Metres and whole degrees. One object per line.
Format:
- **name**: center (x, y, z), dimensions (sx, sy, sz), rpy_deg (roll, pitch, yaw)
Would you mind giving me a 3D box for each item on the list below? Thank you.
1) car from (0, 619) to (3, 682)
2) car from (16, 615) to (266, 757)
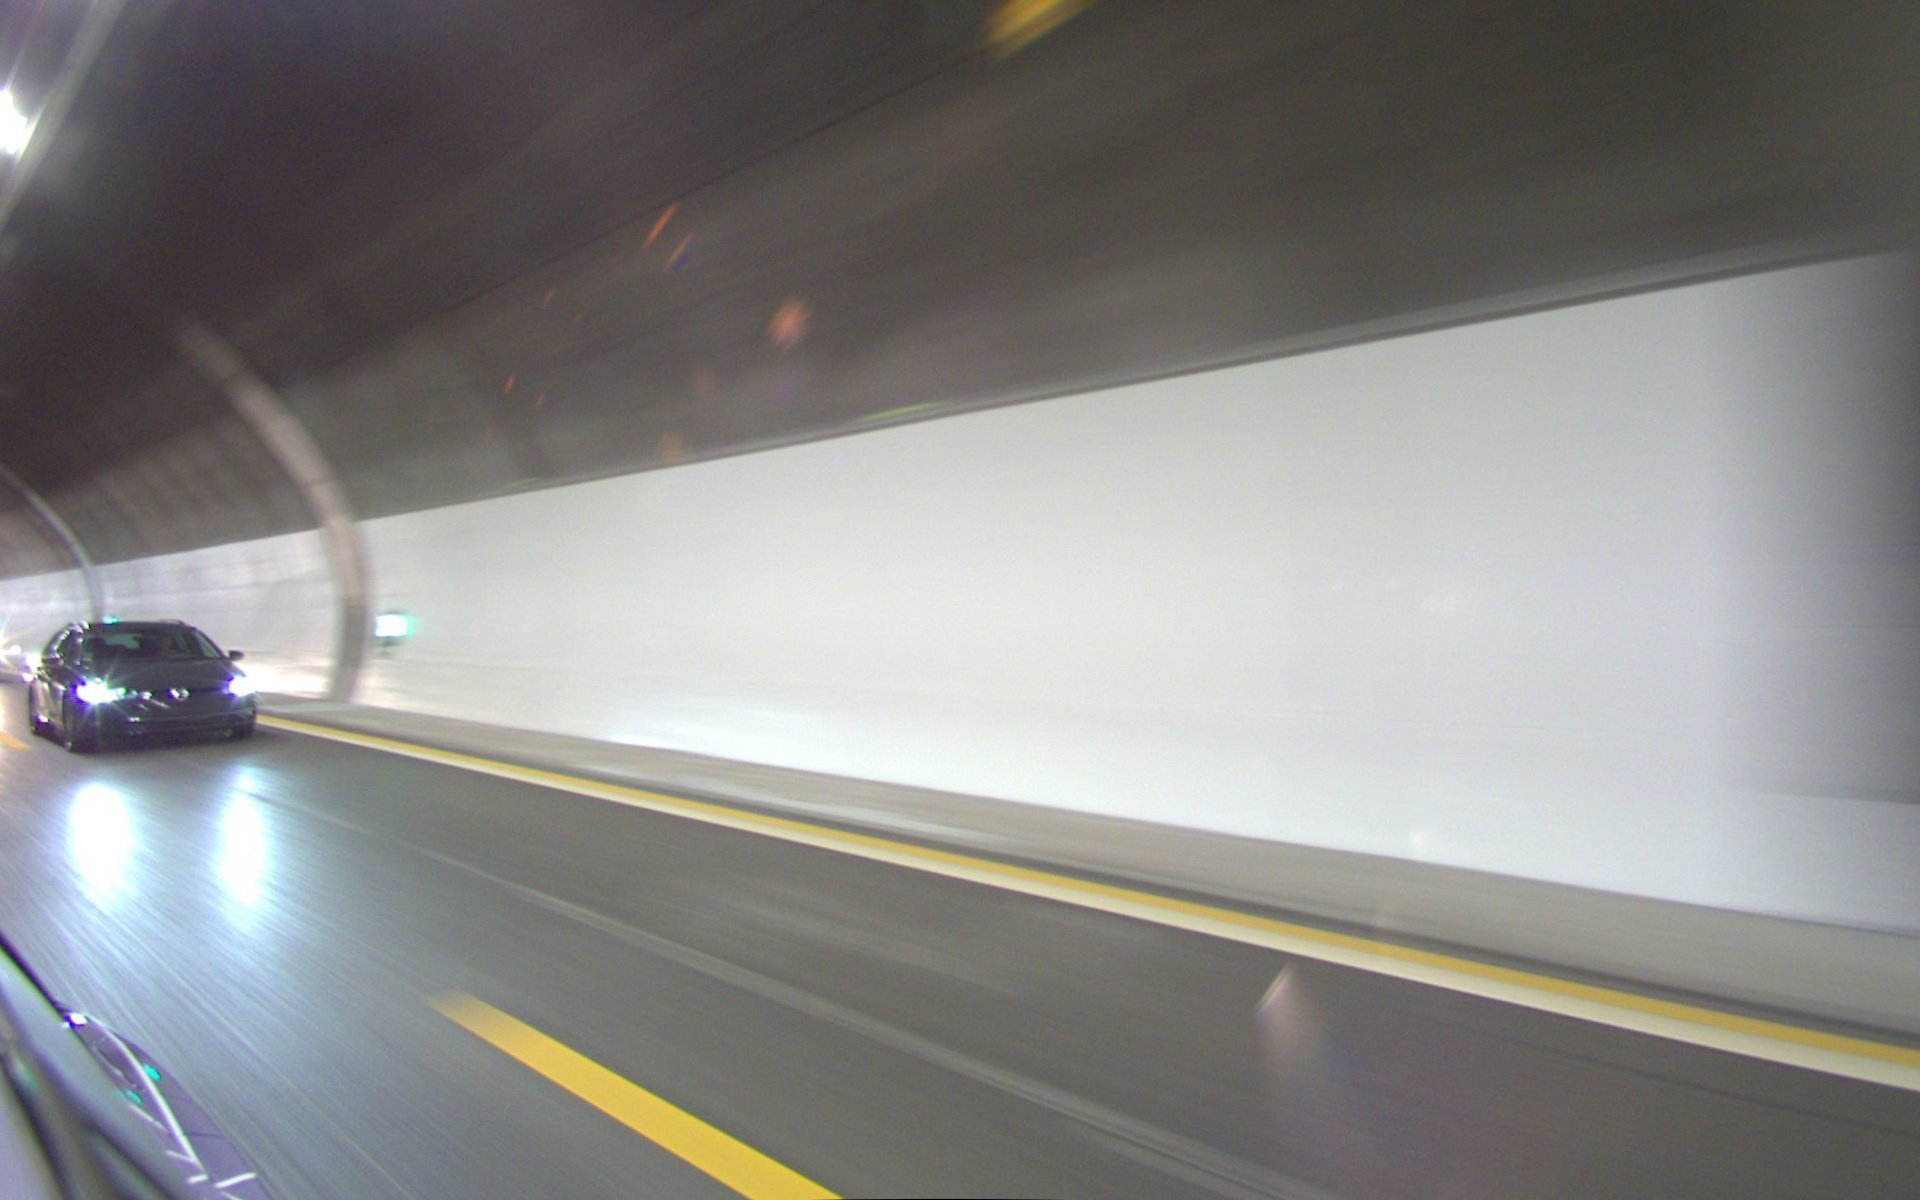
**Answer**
- **car**: center (-24.672, 1.255, 24.707), dimensions (2.647, 1.528, 1.513), rpy_deg (-1, -1, 38)
- **car**: center (-10.608, 0.963, 12.950), dimensions (4.882, 1.449, 1.759), rpy_deg (-2, 0, 42)
